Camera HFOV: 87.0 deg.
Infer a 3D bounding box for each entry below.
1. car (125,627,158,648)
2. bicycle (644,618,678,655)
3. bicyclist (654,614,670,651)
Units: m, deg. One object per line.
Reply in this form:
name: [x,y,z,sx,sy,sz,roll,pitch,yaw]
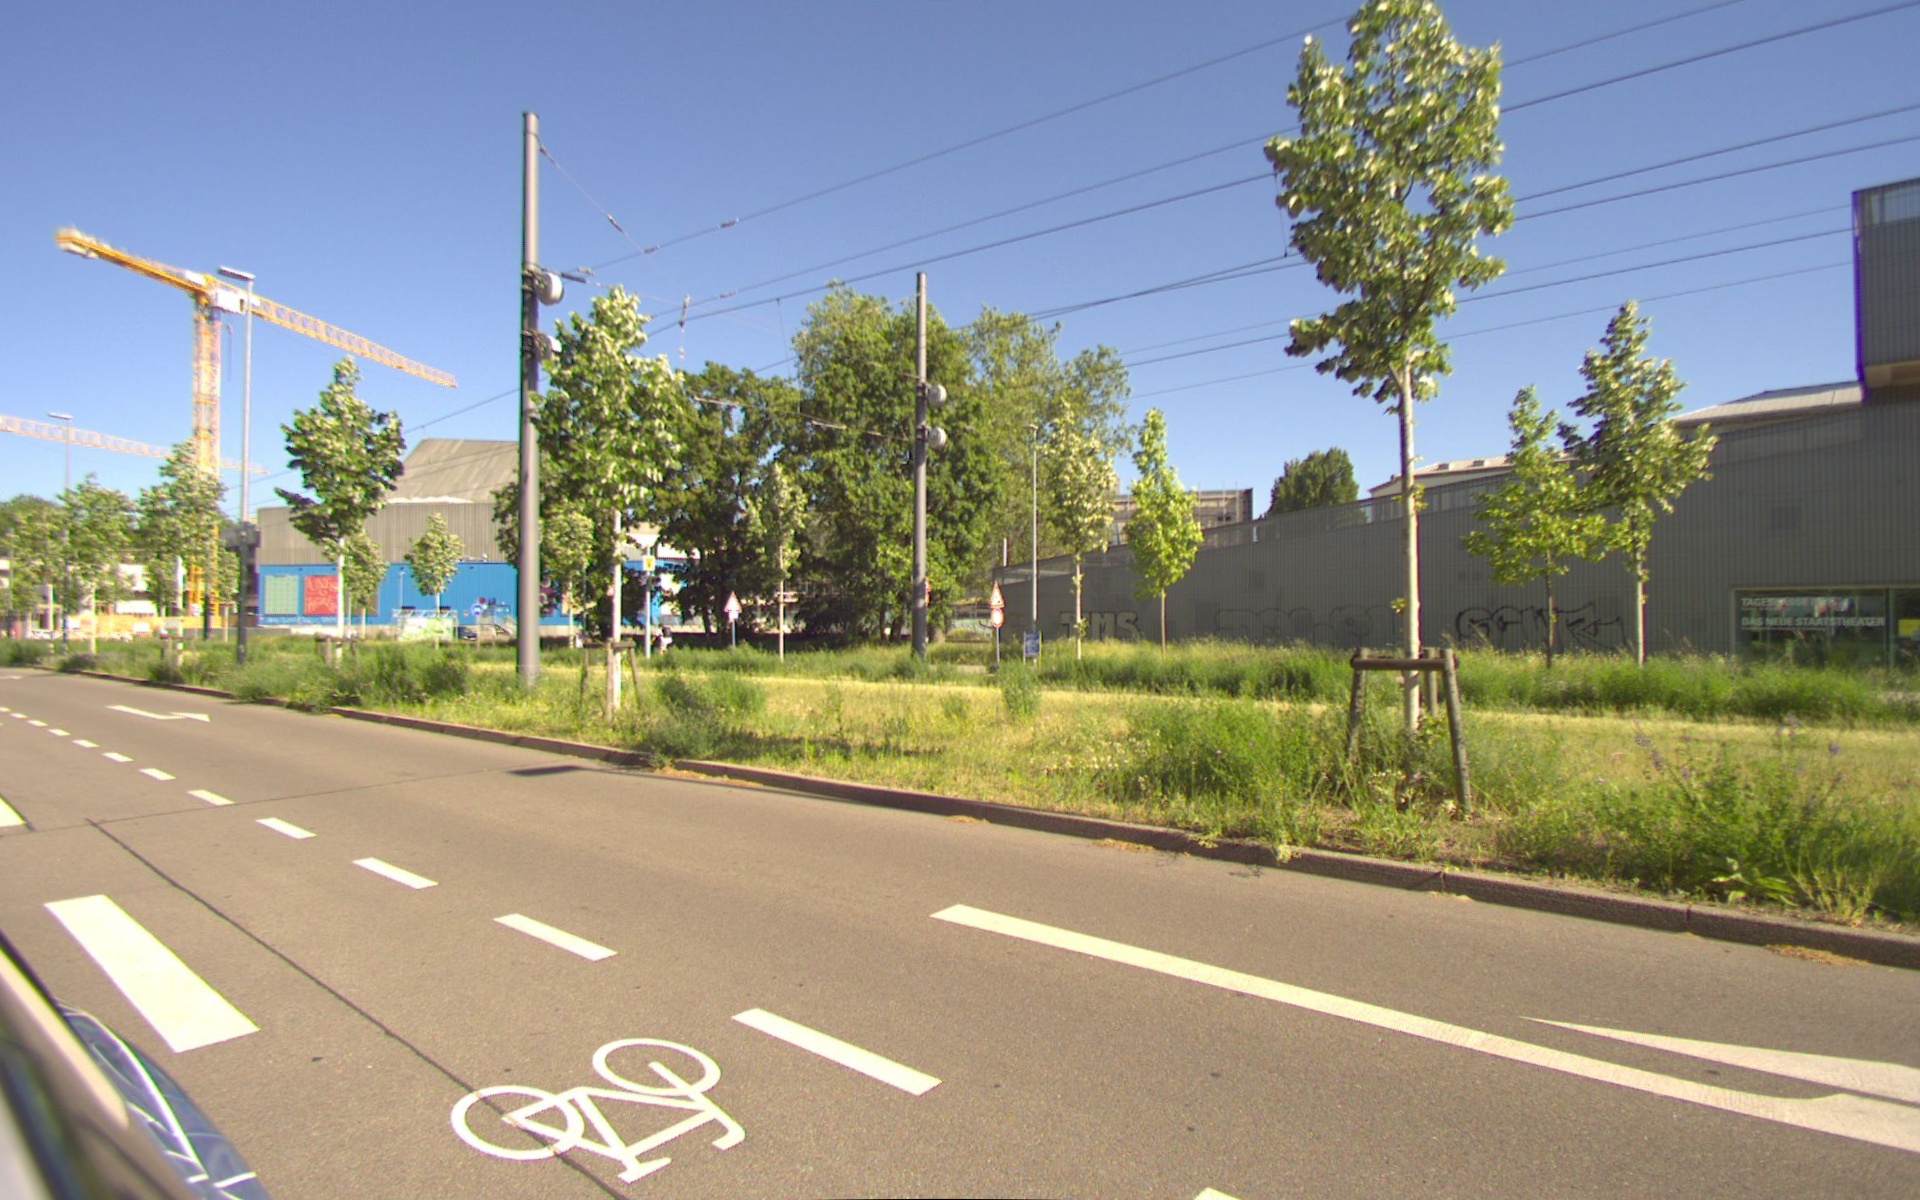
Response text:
car: [-76.562,3.459,94.667,3.998,1.811,1.779,-1,1,41]
bicycle: [-12.227,1.505,41.406,1.912,1.466,0.356,-2,-2,41]
bicyclist: [-12.167,1.326,41.340,0.539,1.465,0.390,-2,0,40]
